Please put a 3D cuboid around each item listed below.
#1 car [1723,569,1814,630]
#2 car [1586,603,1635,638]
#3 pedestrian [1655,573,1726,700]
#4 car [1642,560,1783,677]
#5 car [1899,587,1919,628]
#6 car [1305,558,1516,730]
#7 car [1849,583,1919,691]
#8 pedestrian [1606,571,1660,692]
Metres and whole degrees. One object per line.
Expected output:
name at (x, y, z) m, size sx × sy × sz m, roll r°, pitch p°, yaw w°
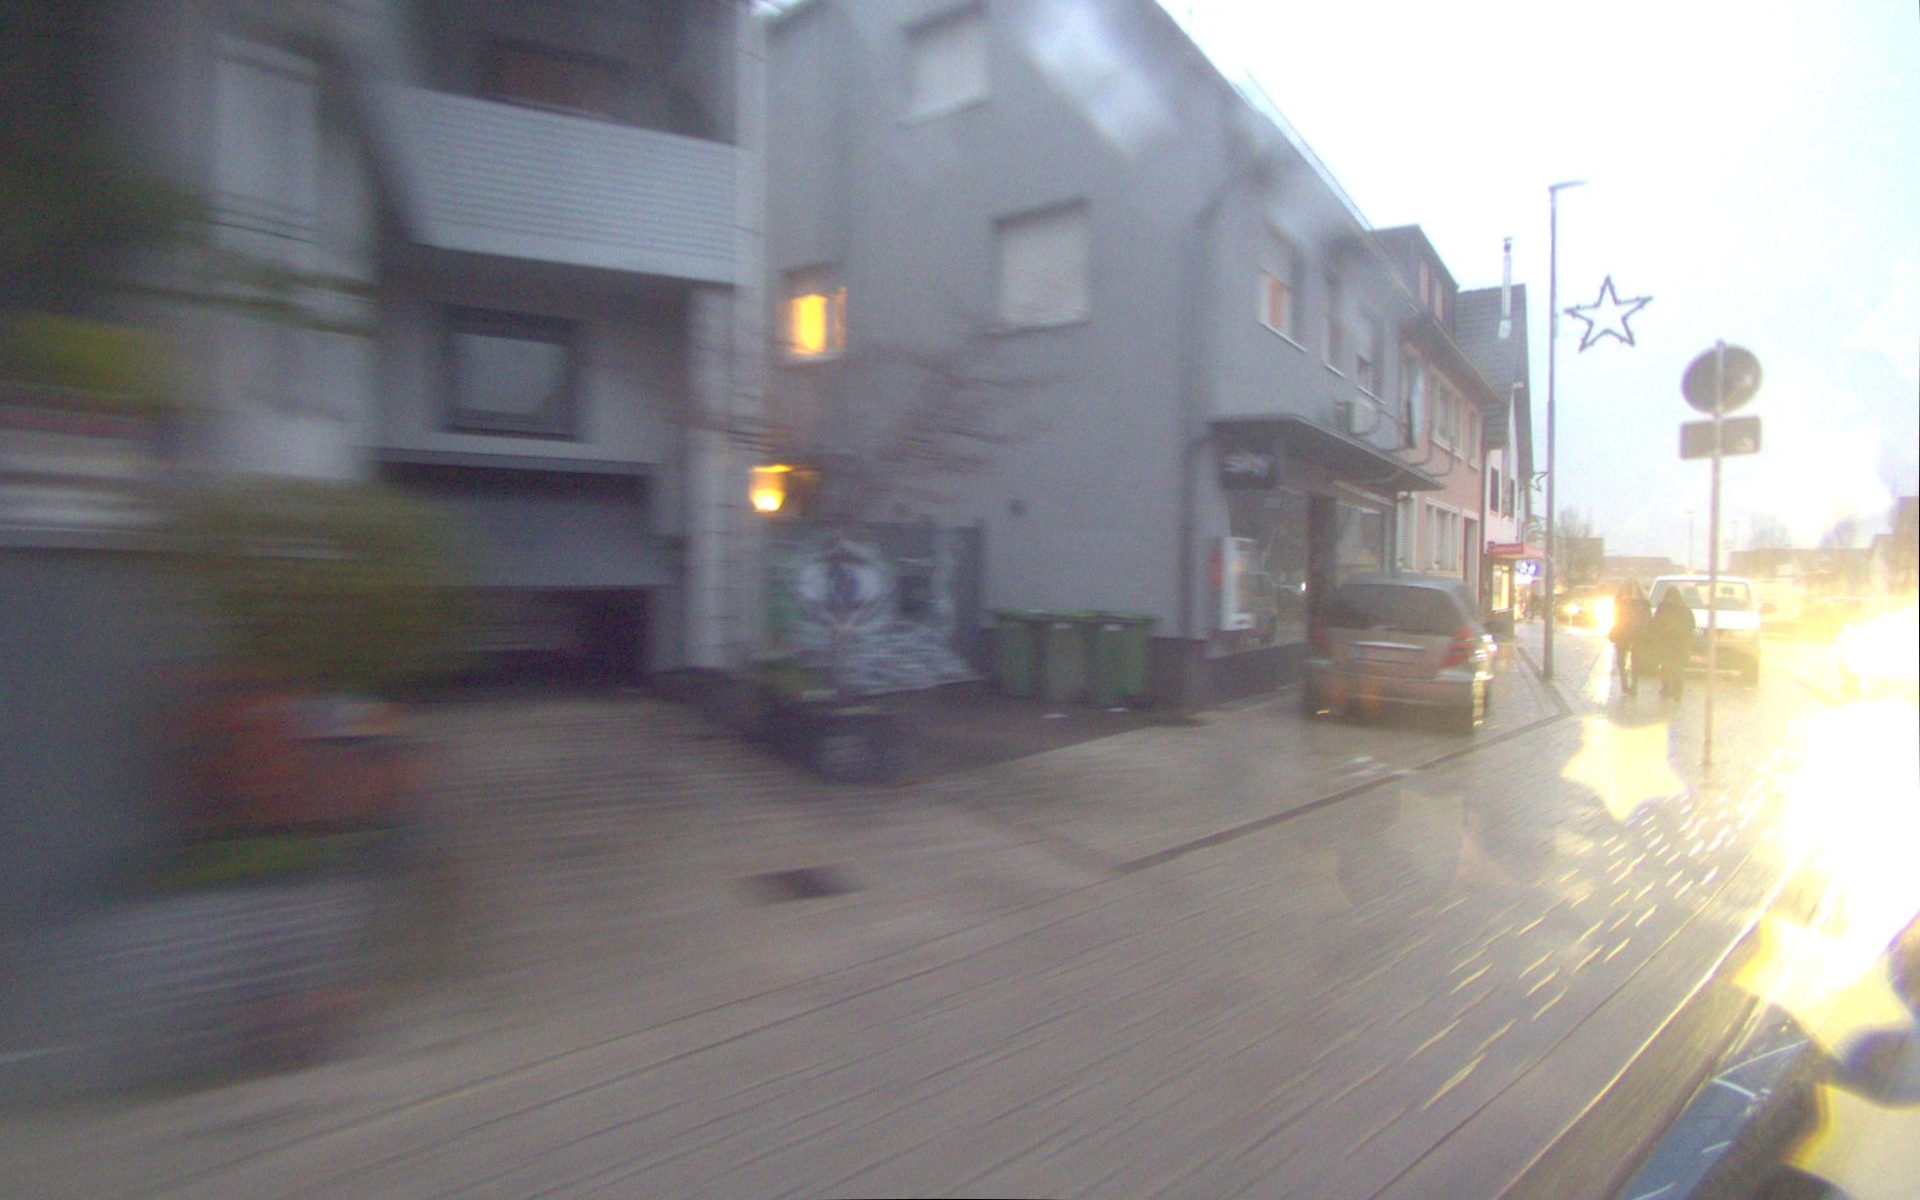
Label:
car at (36.655, -0.050, 46.065) m, size 2.183 × 2.521 × 6.078 m, roll 2°, pitch 1°, yaw 29°
car at (37.133, 1.117, 57.862) m, size 1.983 × 1.806 × 4.473 m, roll 2°, pitch 1°, yaw 29°
pedestrian at (10.368, 0.494, 14.390) m, size 0.710 × 1.720 × 0.795 m, roll 2°, pitch 1°, yaw 32°
car at (14.724, 0.300, 19.905) m, size 1.968 × 1.984 × 4.788 m, roll 2°, pitch 1°, yaw 36°
car at (44.956, 0.417, 44.952) m, size 4.391 × 1.823 × 1.825 m, roll 2°, pitch 1°, yaw 30°
car at (5.263, 0.389, 11.575) m, size 1.726 × 1.580 × 3.623 m, roll 3°, pitch 2°, yaw 31°
car at (16.809, 0.575, 17.277) m, size 2.261 × 1.663 × 4.993 m, roll 2°, pitch 1°, yaw 40°
pedestrian at (9.784, 0.434, 14.712) m, size 0.577 × 1.690 × 0.781 m, roll 3°, pitch 1°, yaw 35°
